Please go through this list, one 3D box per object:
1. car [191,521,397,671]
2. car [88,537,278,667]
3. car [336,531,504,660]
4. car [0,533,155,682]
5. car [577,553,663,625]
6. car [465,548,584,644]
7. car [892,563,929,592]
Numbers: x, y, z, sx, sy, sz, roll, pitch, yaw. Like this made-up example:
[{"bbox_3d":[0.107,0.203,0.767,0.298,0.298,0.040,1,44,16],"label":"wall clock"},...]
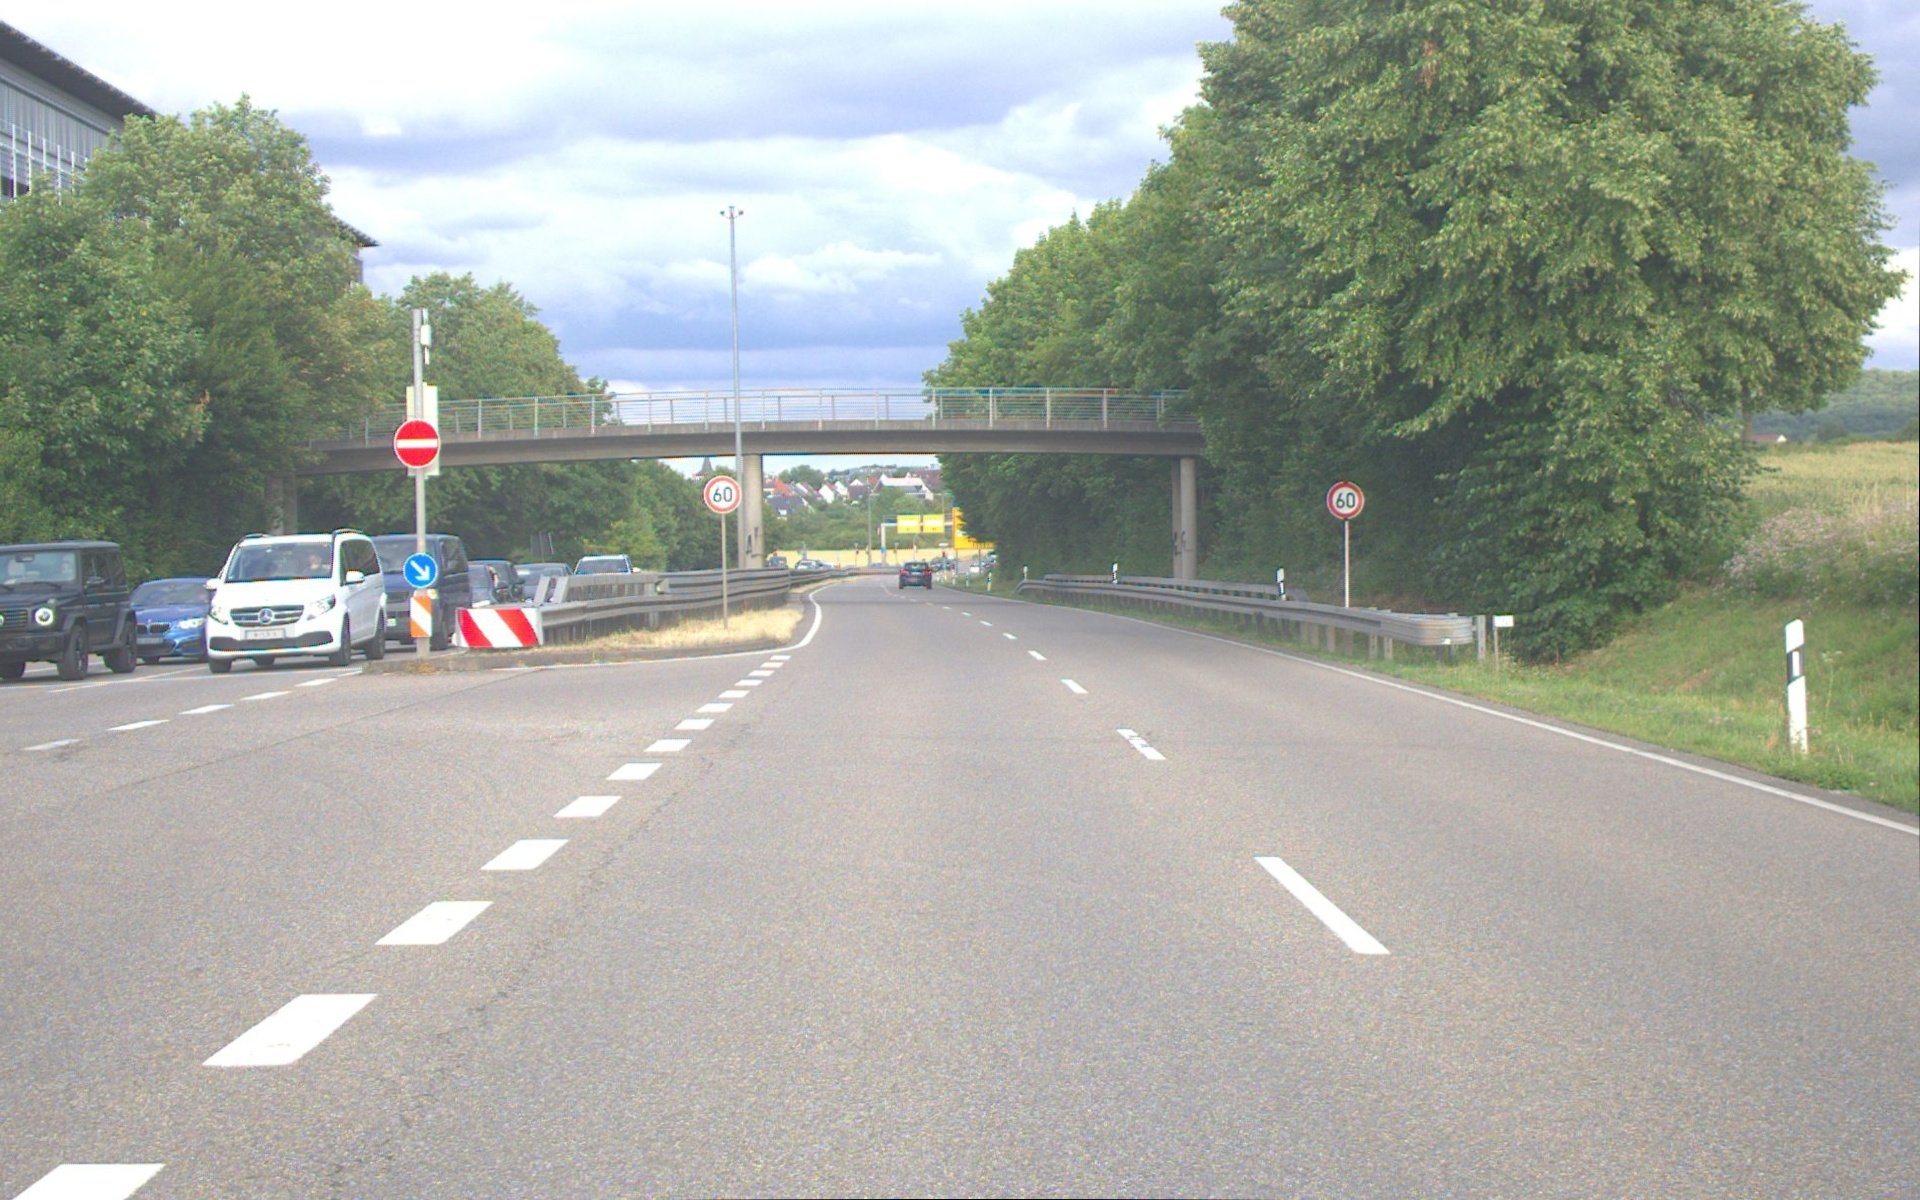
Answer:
[{"bbox_3d":[-9.481,-0.081,49.344,2.083,2.007,5.217,1,0,-2],"label":"car"},{"bbox_3d":[-12.746,0.005,56.735,2.083,2.007,5.217,1,0,-2],"label":"car"},{"bbox_3d":[-8.902,-0.098,57.081,2.083,2.007,5.217,1,0,-2],"label":"car"},{"bbox_3d":[-13.115,0.066,49.234,2.083,2.007,5.217,1,0,-2],"label":"car"},{"bbox_3d":[-9.823,-0.327,99.581,2.083,2.007,5.217,1,0,-2],"label":"car"},{"bbox_3d":[-9.539,-0.108,75.628,2.083,2.007,5.217,1,0,-2],"label":"car"},{"bbox_3d":[-2.797,-1.277,192.150,1.879,1.547,4.001,1,0,-3],"label":"car"}]
